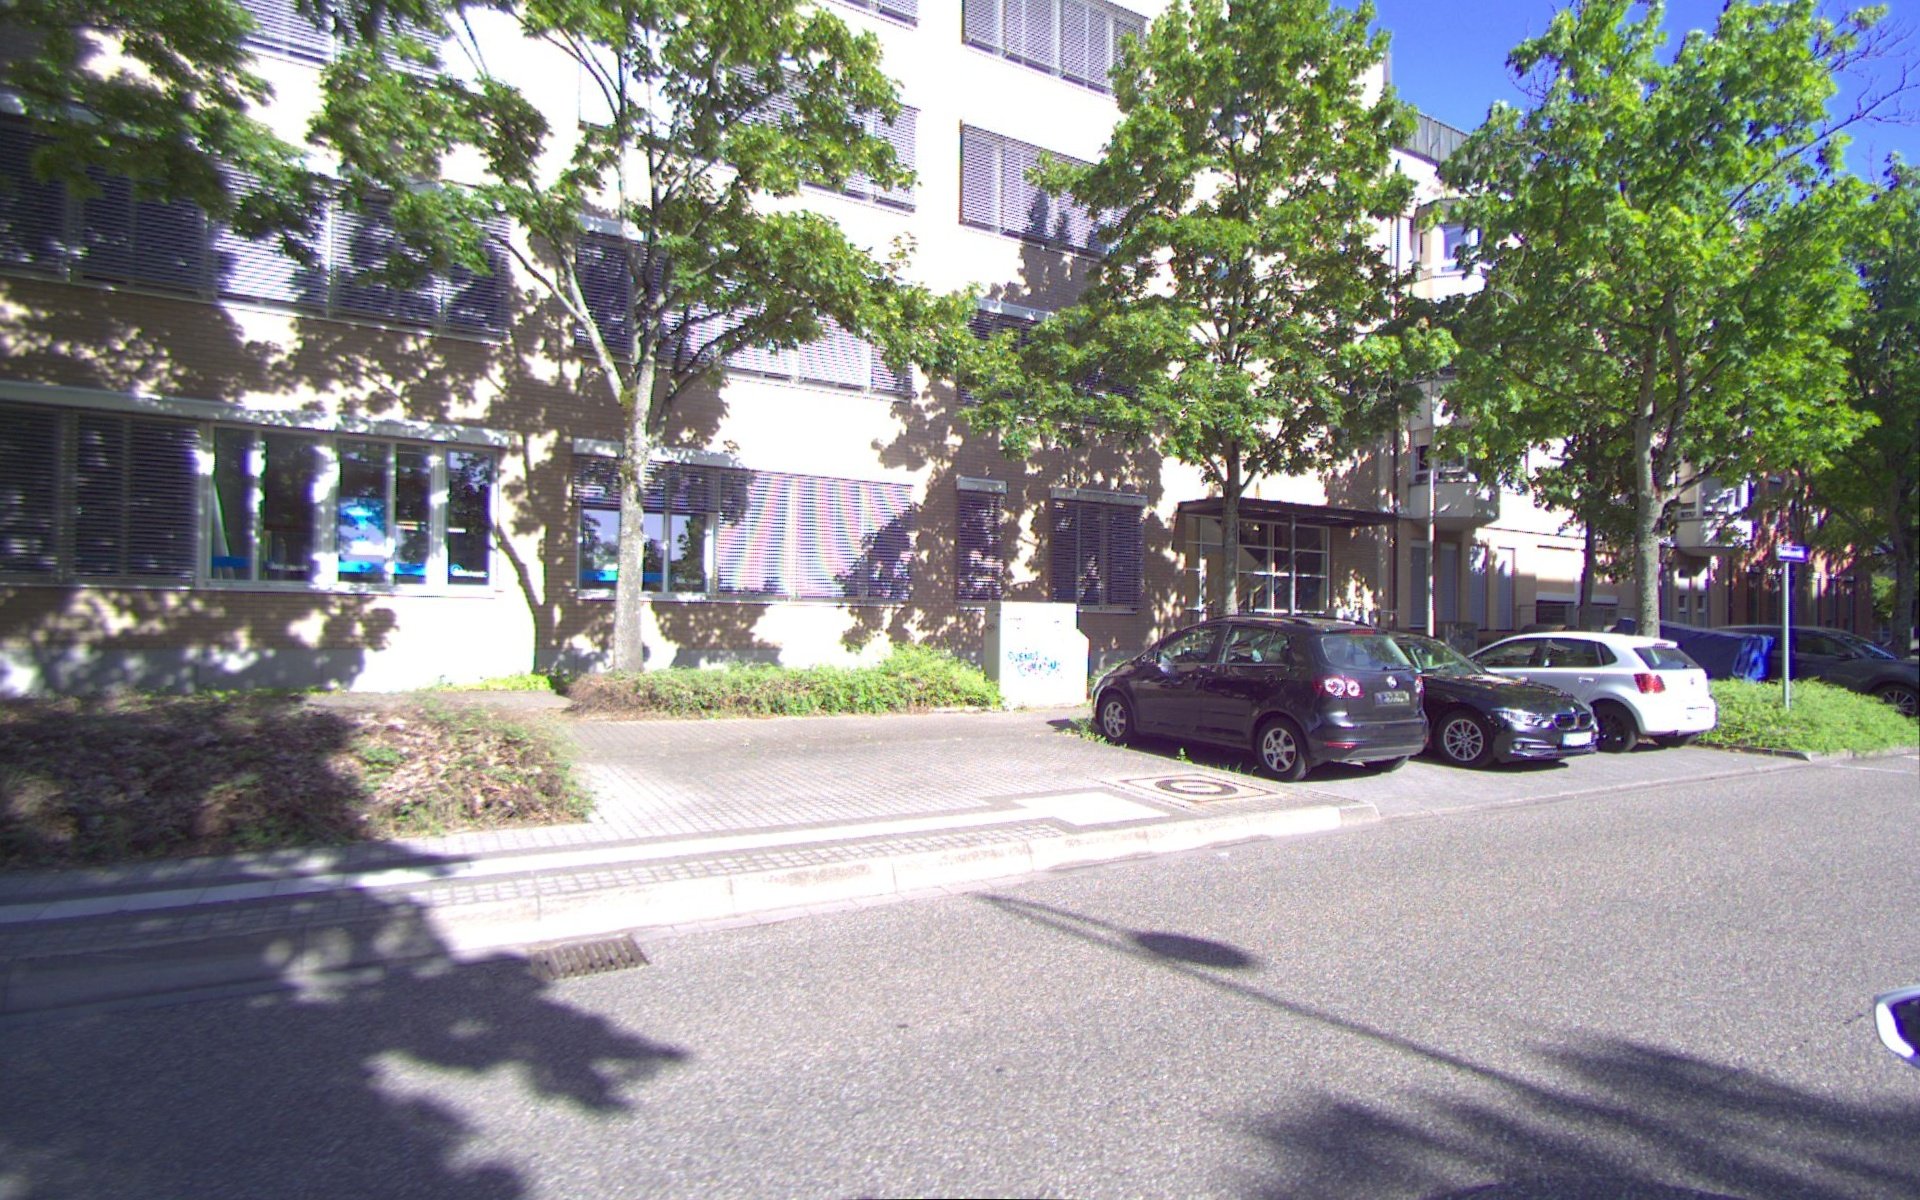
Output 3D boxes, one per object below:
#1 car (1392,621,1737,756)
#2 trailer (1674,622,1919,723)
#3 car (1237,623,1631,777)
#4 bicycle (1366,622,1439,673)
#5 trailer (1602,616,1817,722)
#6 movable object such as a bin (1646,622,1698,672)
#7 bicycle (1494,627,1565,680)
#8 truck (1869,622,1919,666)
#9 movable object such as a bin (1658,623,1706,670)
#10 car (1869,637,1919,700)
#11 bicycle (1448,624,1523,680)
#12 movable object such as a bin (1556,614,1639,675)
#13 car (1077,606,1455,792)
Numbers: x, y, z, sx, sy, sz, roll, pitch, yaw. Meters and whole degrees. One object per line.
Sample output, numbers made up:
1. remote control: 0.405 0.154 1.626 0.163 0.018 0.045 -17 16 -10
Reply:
1. car: 8.189 1.109 13.957 1.733 1.471 3.738 2 0 -29
2. trailer: 16.152 1.282 18.734 1.836 1.593 4.235 2 0 -33
3. car: 5.611 1.078 12.444 1.780 1.421 4.132 2 0 -30
4. bicycle: 11.525 1.229 26.184 0.448 1.246 1.676 2 0 -42
5. trailer: 13.681 1.189 18.440 1.691 1.710 2.713 1 0 -29
6. movable object such as a bin: 23.939 1.566 33.775 1.431 1.641 1.134 2 -2 -42
7. bicycle: 16.461 1.527 29.058 1.703 1.427 0.612 2 0 38
8. truck: 61.162 2.765 62.731 2.549 2.740 6.073 1 -2 -31
9. movable object such as a bin: 24.910 1.603 34.649 1.235 1.583 1.134 2 -2 -42
10. car: 24.201 1.683 23.626 1.710 1.480 3.821 1 0 -26
11. bicycle: 14.372 1.398 27.506 1.703 1.427 0.612 2 0 38
12. movable object such as a bin: 19.789 1.371 31.190 1.643 1.820 1.593 1 -2 -28
13. car: 3.202 0.936 11.314 1.708 1.591 3.968 2 1 -30
